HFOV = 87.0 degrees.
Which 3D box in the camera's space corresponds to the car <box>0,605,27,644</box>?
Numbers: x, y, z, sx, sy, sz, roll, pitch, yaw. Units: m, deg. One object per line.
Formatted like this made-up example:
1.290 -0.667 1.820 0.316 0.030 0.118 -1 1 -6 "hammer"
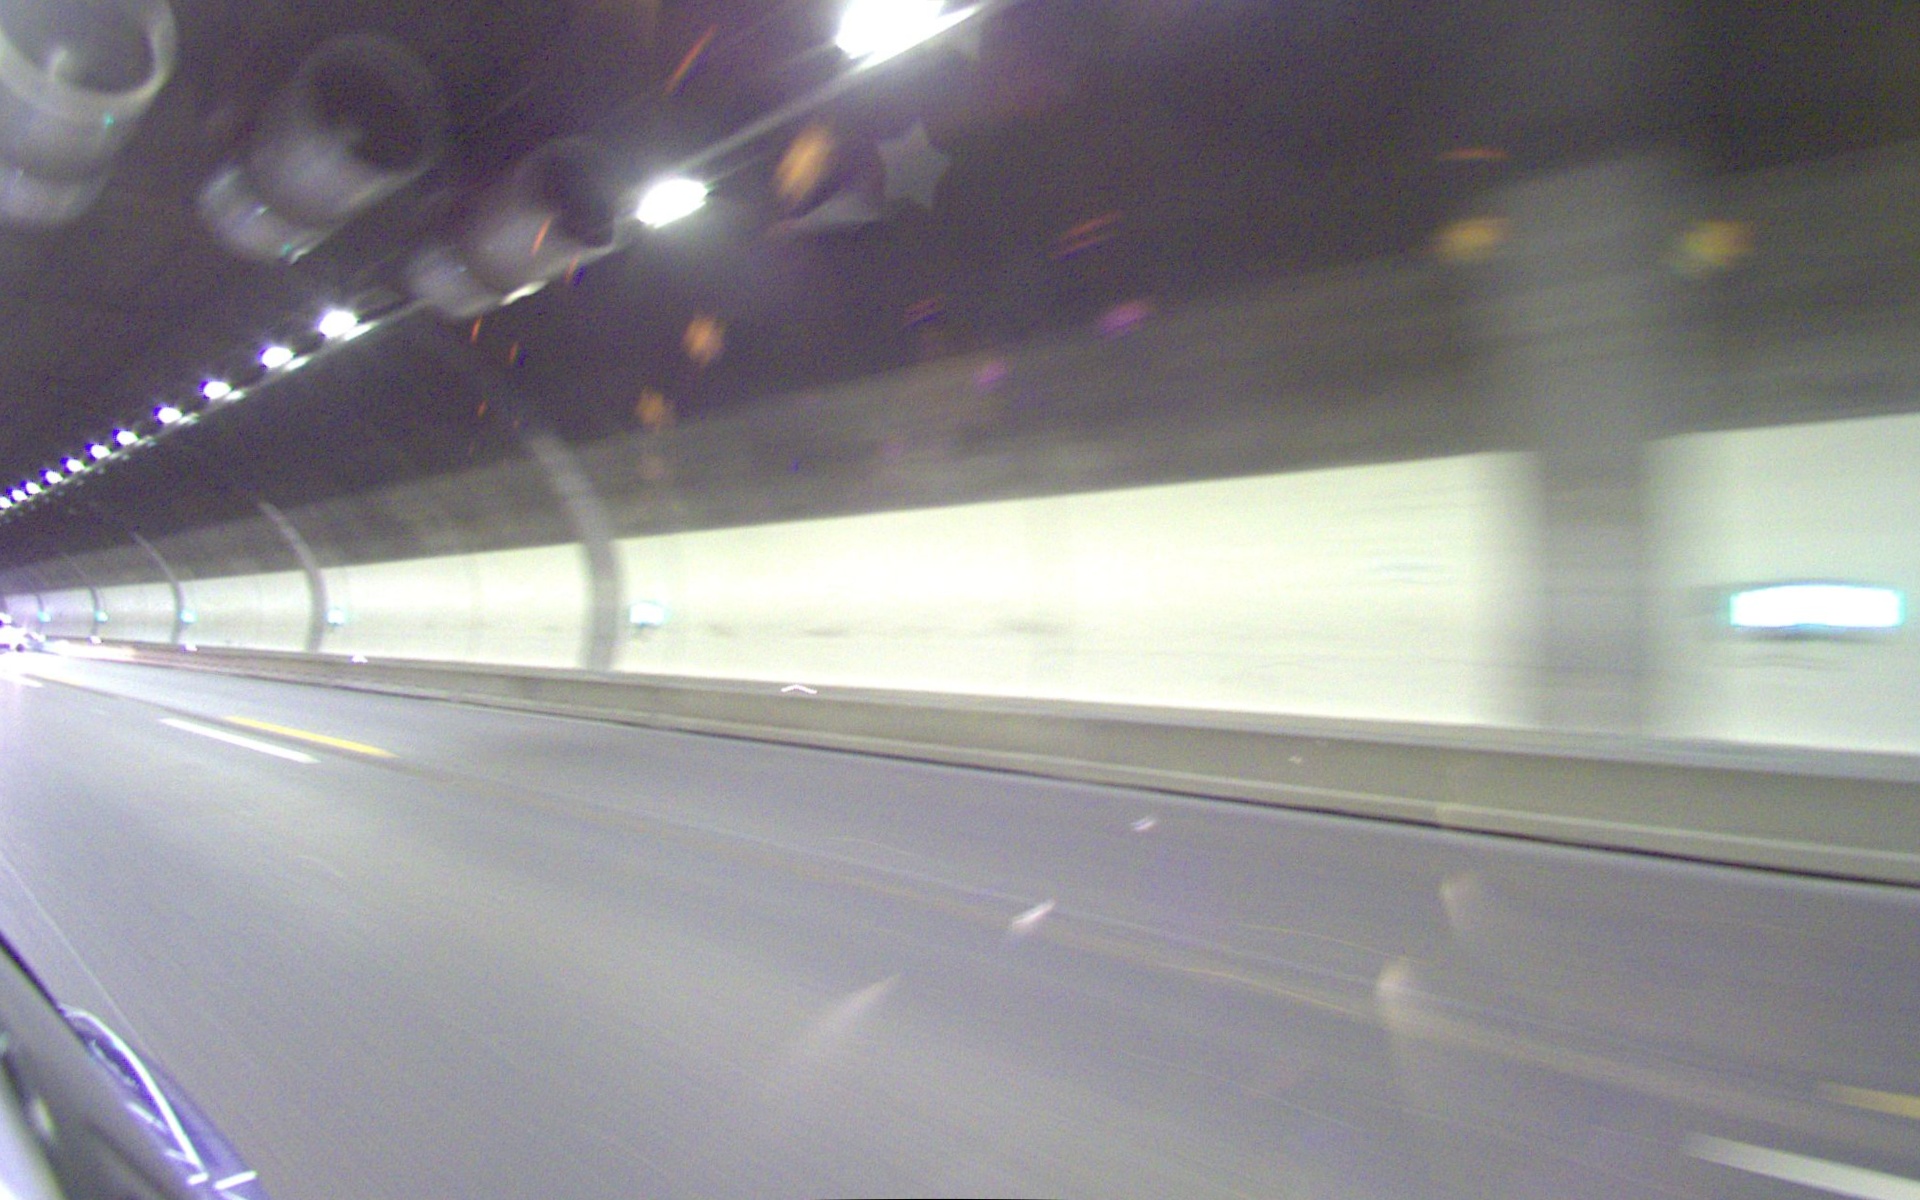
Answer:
-40.720 1.005 42.553 4.095 1.584 1.744 -1 -1 41 "car"
